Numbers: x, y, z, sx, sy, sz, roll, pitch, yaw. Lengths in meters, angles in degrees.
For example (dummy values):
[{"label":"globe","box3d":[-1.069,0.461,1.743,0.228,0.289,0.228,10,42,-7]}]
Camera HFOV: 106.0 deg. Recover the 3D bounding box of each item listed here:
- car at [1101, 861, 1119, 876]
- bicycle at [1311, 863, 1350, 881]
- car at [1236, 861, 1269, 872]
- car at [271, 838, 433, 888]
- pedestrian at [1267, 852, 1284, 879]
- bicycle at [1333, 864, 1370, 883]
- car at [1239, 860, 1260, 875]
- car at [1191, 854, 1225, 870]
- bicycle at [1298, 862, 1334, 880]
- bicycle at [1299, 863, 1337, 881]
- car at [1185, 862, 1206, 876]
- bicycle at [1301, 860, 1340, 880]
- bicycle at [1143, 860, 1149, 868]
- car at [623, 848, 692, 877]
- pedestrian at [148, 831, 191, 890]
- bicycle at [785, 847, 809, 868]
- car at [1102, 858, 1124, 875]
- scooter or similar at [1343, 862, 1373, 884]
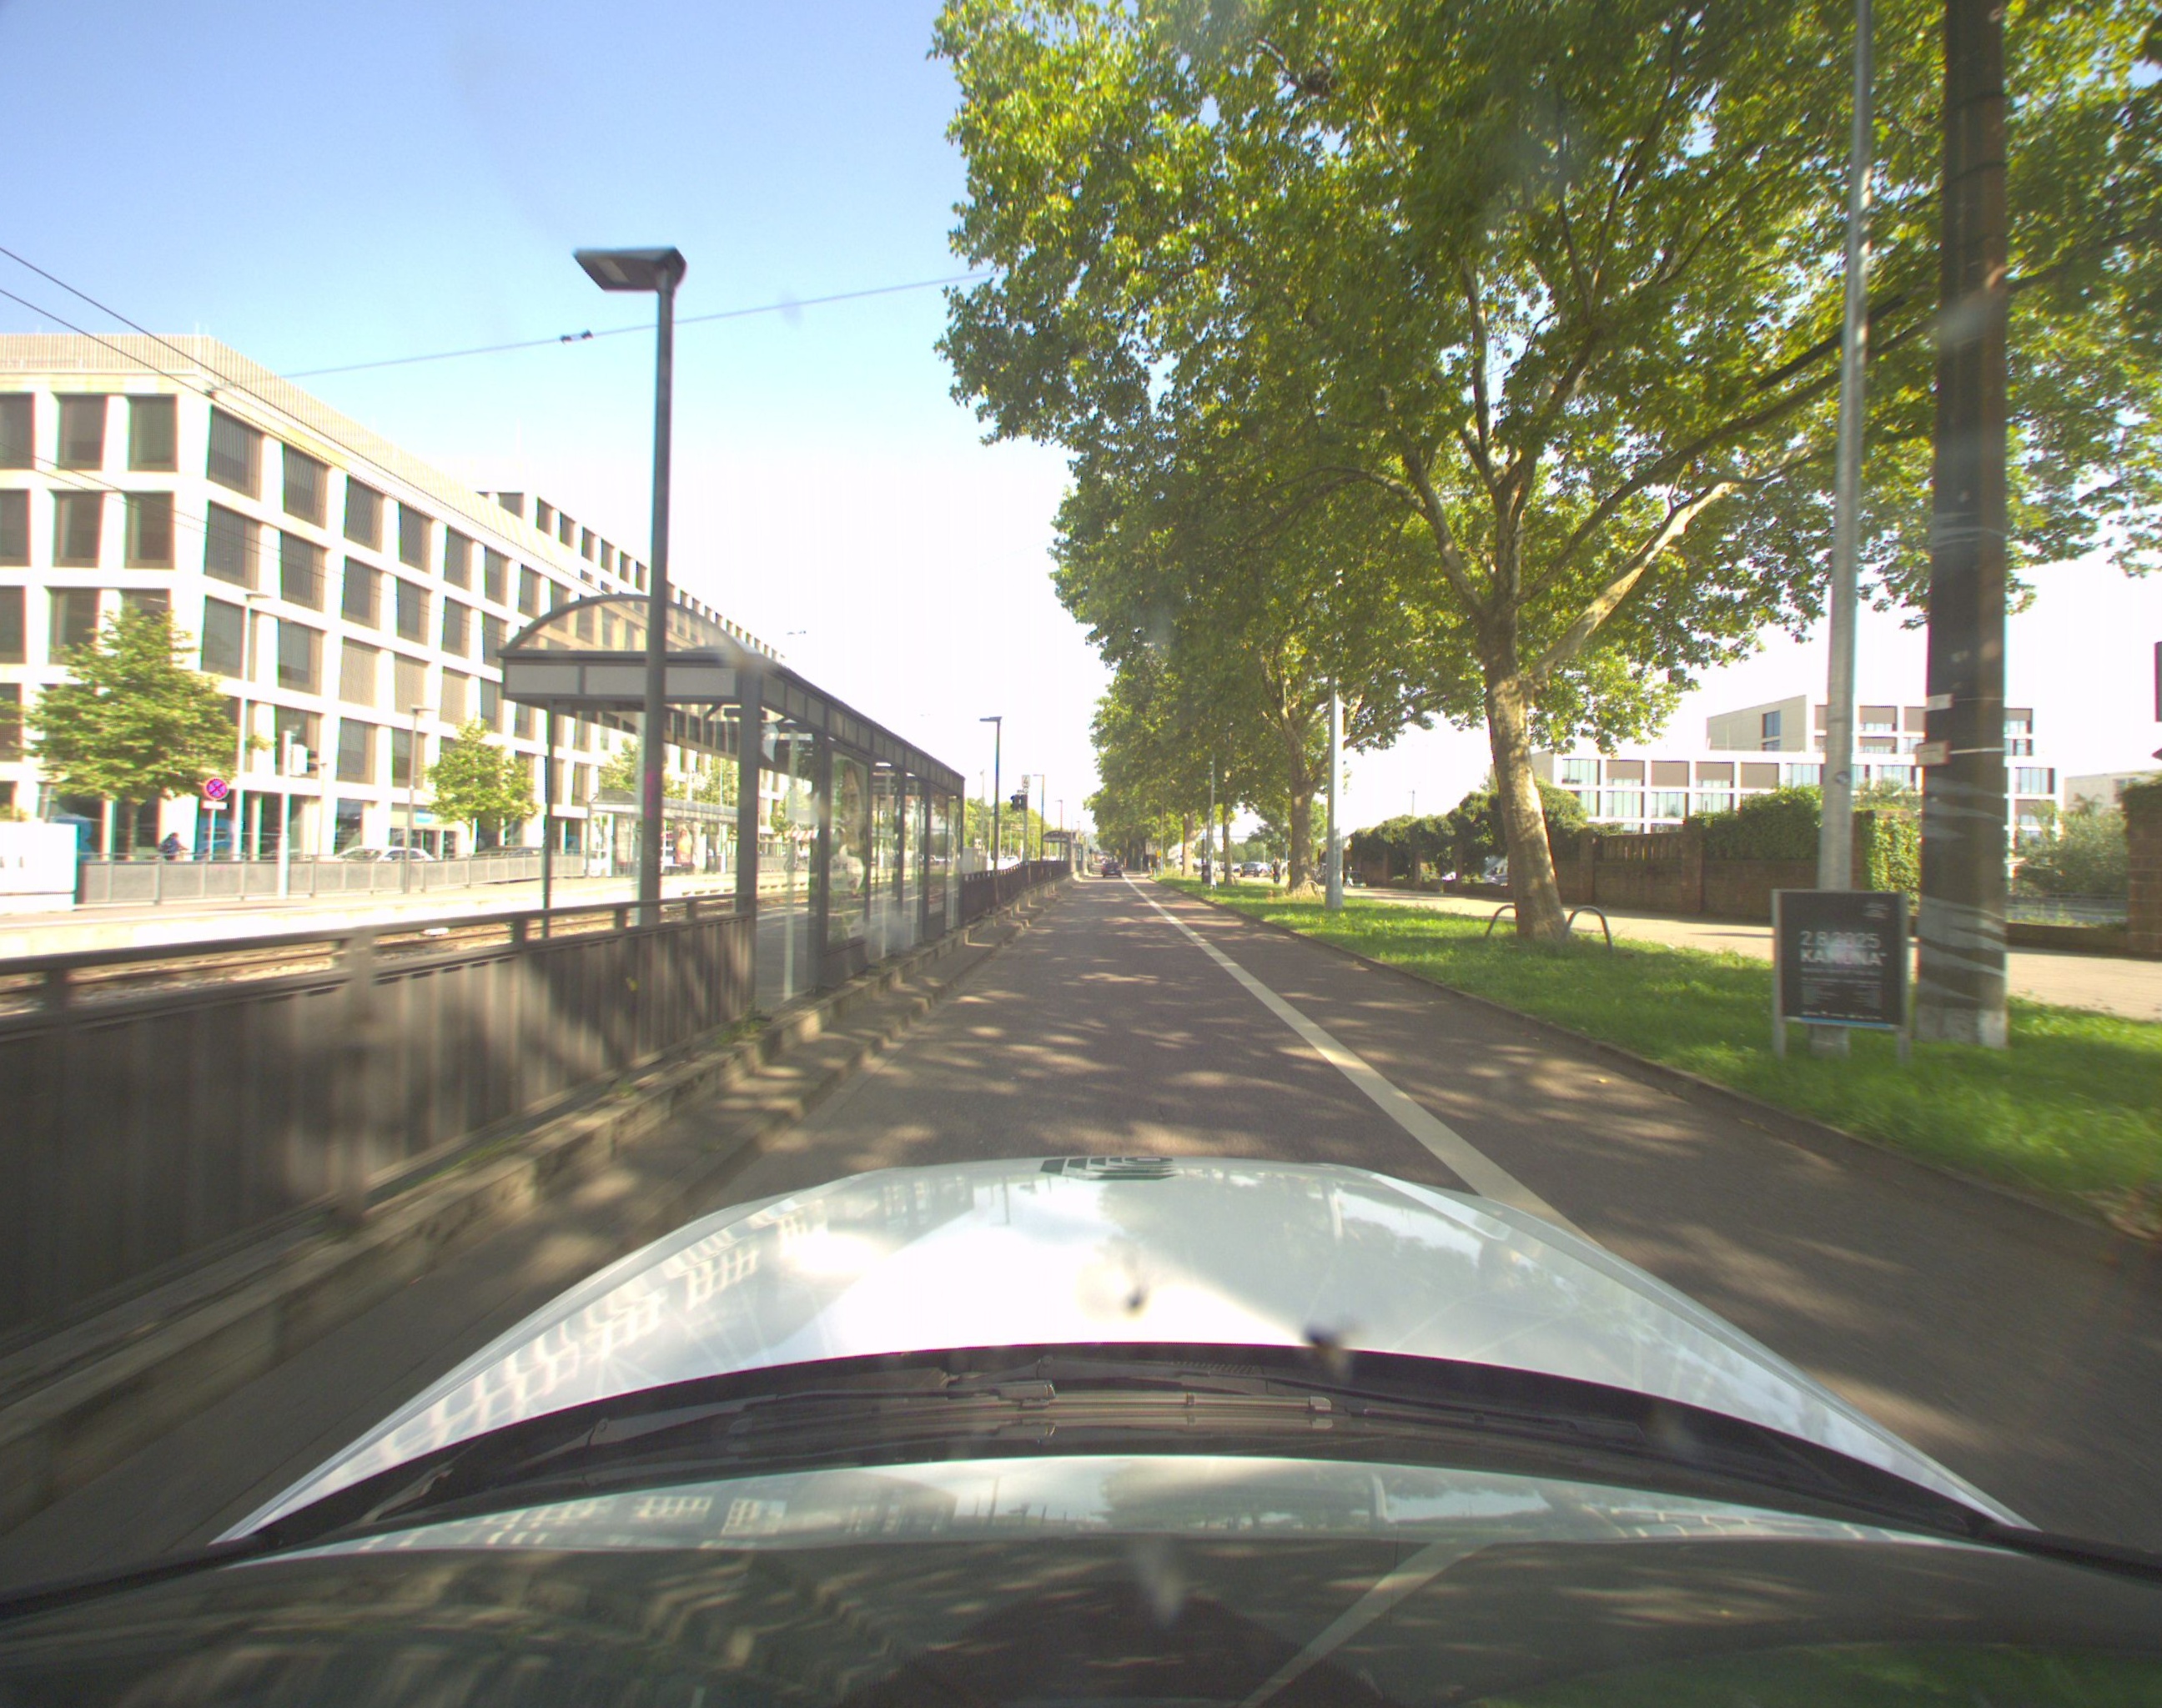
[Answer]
[{"label":"car","box3d":[3.309,1.683,94.338,1.966,1.537,4.000,-2,0,1]},{"label":"bicycle","box3d":[15.188,1.105,49.575,2.166,1.076,0.743,1,-1,-1]},{"label":"car","box3d":[25.353,1.792,120.493,4.330,1.464,1.947,2,-1,-1]},{"label":"car","box3d":[-24.471,0.296,27.572,1.758,1.574,4.131,0,0,0]},{"label":"pedestrian","box3d":[11.287,0.665,47.312,0.781,1.515,0.787,1,0,1]},{"label":"bicycle","box3d":[15.323,1.110,46.195,1.861,1.006,0.735,1,-1,-1]},{"label":"car","box3d":[18.578,1.441,89.879,1.601,1.575,3.798,0,0,2]},{"label":"car","box3d":[15.912,1.021,102.065,4.085,1.918,1.850,-1,-1,4]},{"label":"bicycle","box3d":[15.171,1.115,52.603,2.163,1.076,0.744,-2,-1,5]},{"label":"bicycle","box3d":[15.059,1.165,51.818,2.163,1.076,0.744,-1,-1,5]},{"label":"car","box3d":[12.463,1.597,88.781,1.721,1.448,4.552,0,0,2]},{"label":"bicycle","box3d":[15.905,1.080,54.090,2.236,1.277,0.999,-1,-2,0]},{"label":"bicycle","box3d":[9.339,1.453,117.697,0.608,1.022,2.400,1,0,-2]},{"label":"car","box3d":[-24.084,0.490,46.461,1.758,1.603,4.131,0,0,0]},{"label":"pedestrian","box3d":[-31.679,0.231,28.306,0.561,2.014,0.822,-2,-2,1]},{"label":"bicycle","box3d":[-15.729,0.195,45.097,0.467,1.147,1.490,1,-1,16]},{"label":"car","box3d":[2.962,1.121,75.181,1.901,1.537,4.000,-1,0,1]},{"label":"scooter or similar","box3d":[15.378,1.052,45.264,1.498,1.191,0.539,-1,-1,5]}]
